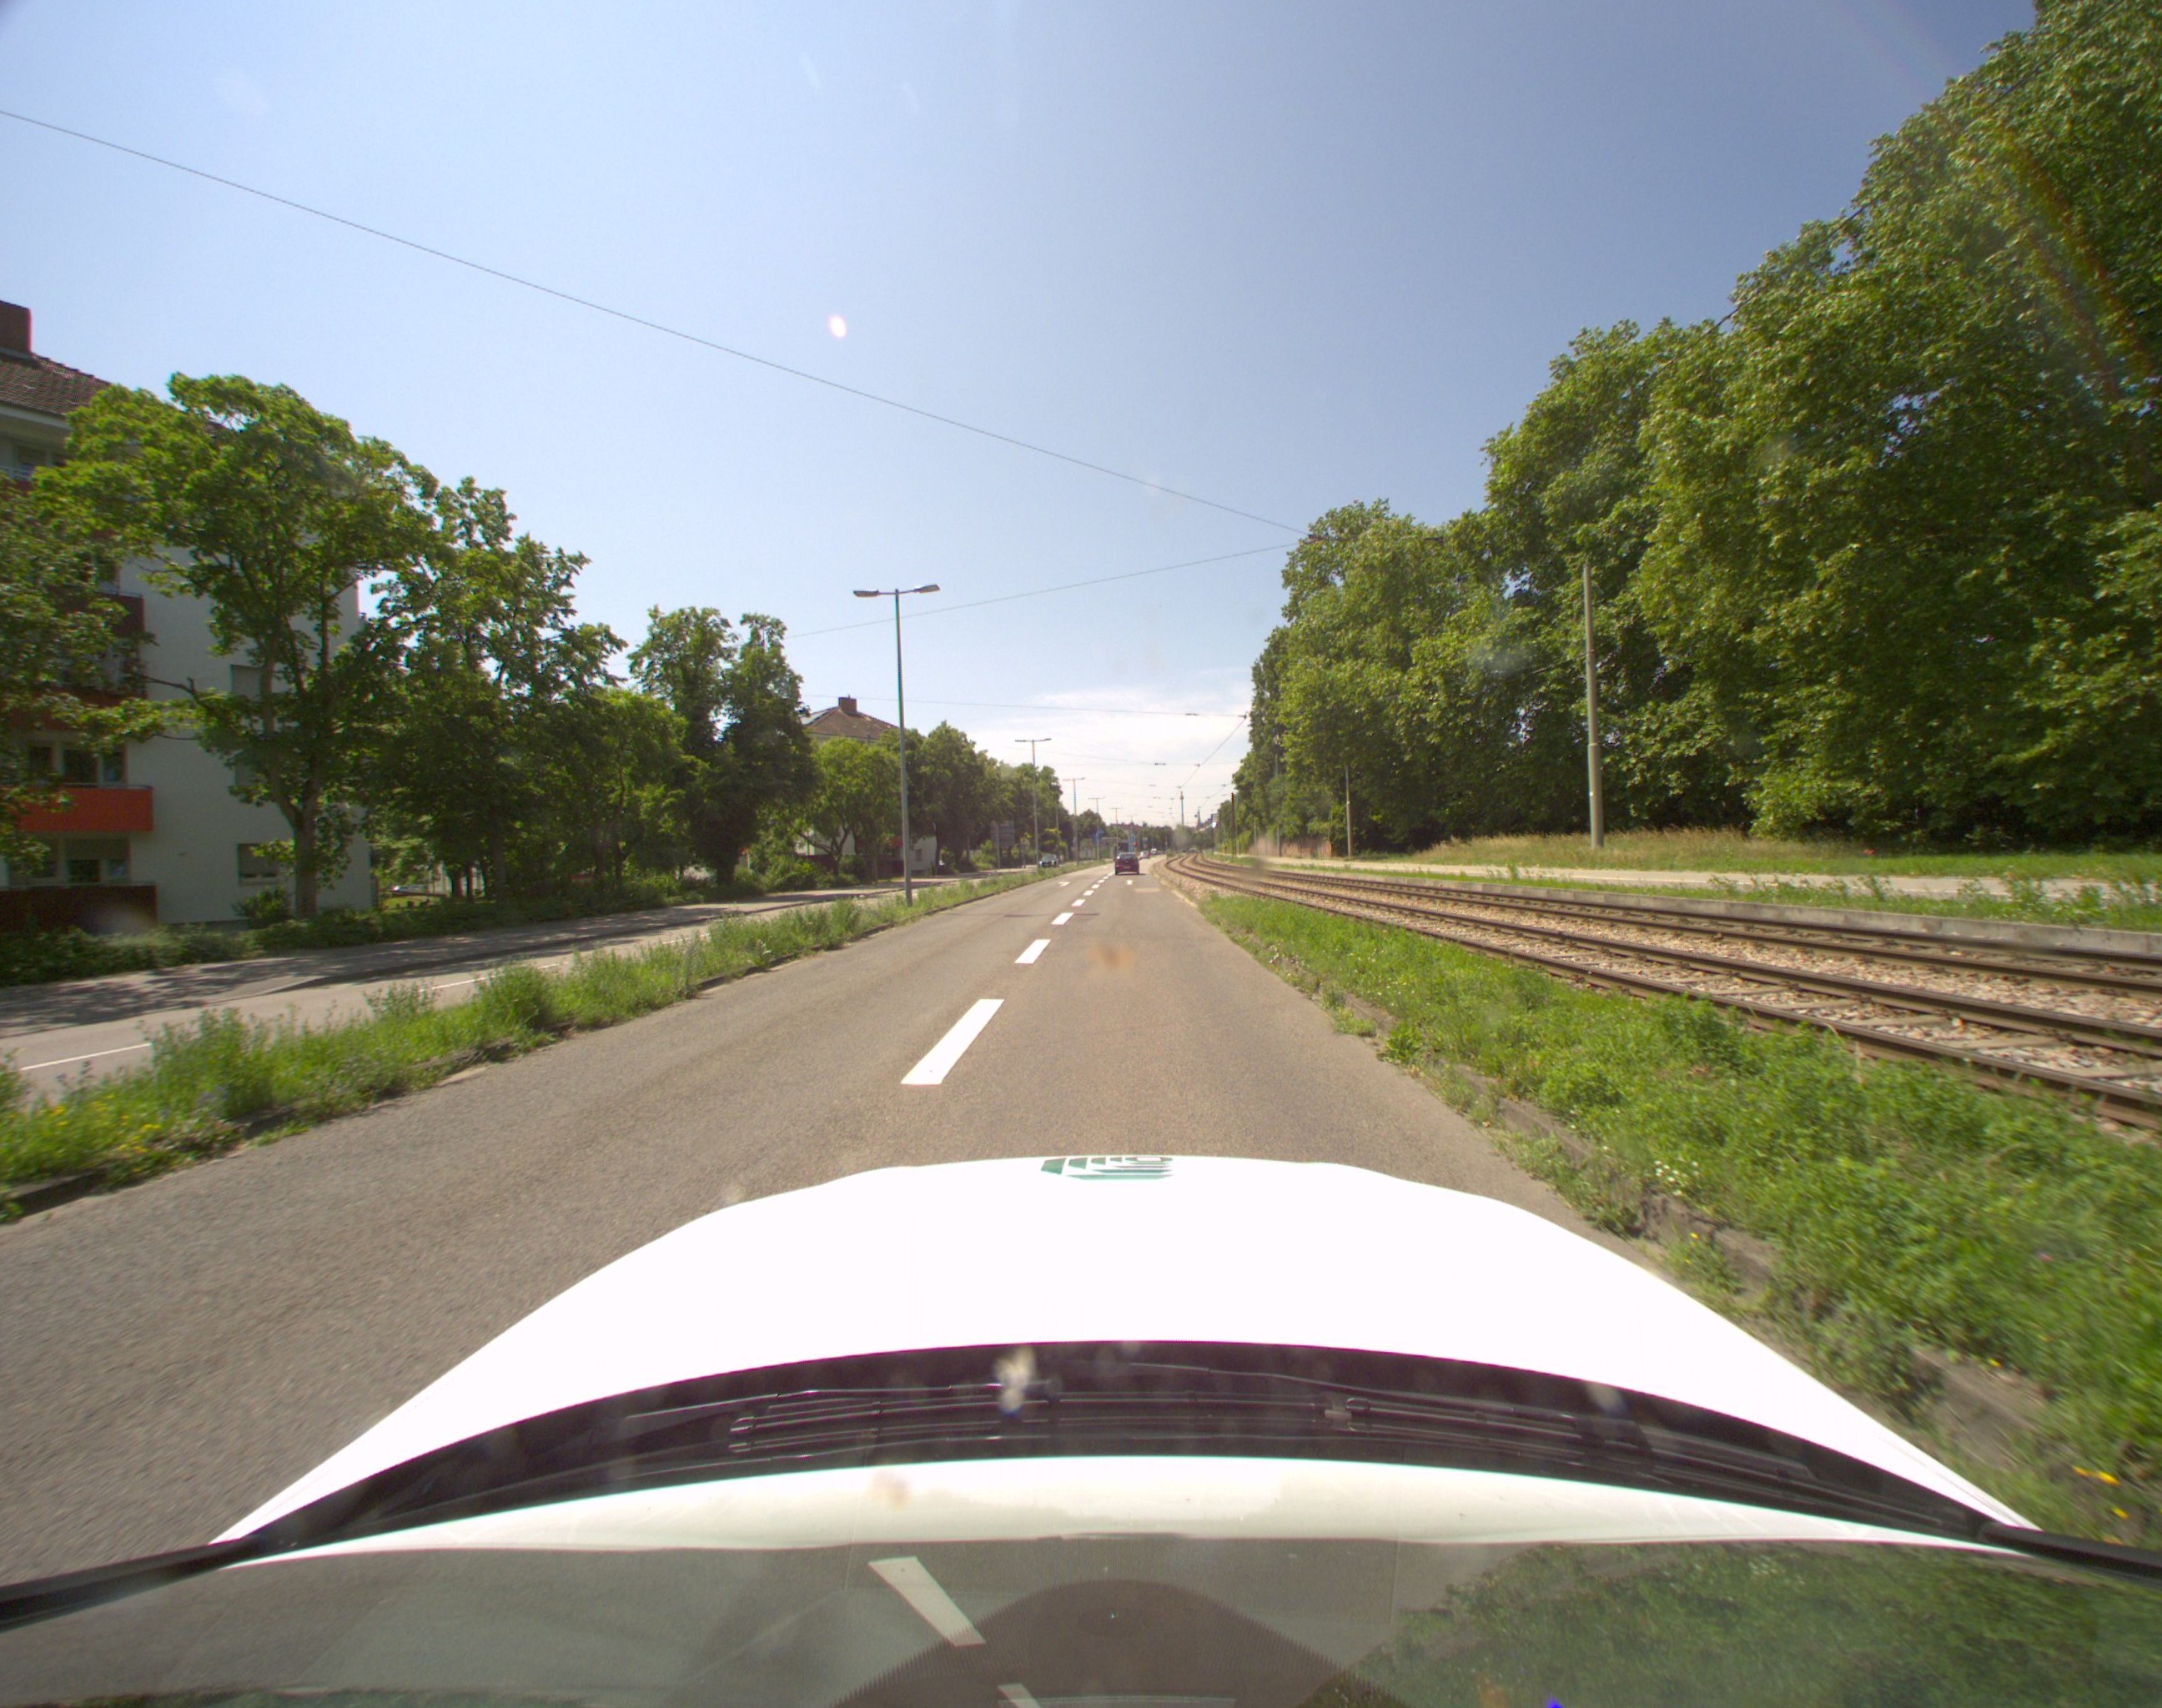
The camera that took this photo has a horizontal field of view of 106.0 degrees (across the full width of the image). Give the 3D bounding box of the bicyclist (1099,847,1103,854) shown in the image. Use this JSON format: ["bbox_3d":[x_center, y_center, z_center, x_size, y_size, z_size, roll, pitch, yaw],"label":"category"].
[{"bbox_3d":[4.880,-0.877,196.985,0.943,1.593,1.085,-1,-1,-6],"label":"bicyclist"}]

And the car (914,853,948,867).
[{"bbox_3d":[-22.244,0.825,120.822,4.654,1.758,1.998,-3,0,-2],"label":"car"}]

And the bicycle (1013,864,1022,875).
[{"bbox_3d":[-8.540,2.050,109.648,0.640,1.327,1.581,-4,0,20],"label":"bicycle"}]

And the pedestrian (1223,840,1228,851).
[{"bbox_3d":[22.120,-1.275,124.944,0.658,1.726,0.818,-3,0,7],"label":"pedestrian"}]

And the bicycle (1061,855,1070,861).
[{"bbox_3d":[-2.561,0.658,132.049,1.438,0.773,0.492,-4,0,-34],"label":"bicycle"}]

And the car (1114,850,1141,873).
[{"bbox_3d":[3.121,0.521,54.803,1.696,1.477,3.719,-2,-1,3],"label":"car"}]

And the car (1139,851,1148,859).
[{"bbox_3d":[12.222,0.232,159.490,1.696,1.480,3.719,-1,0,3],"label":"car"}]

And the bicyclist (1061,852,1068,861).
[{"bbox_3d":[-2.740,0.340,131.935,0.968,1.403,0.486,-4,0,-34],"label":"bicyclist"}]

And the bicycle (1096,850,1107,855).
[{"bbox_3d":[4.941,-0.395,196.958,2.547,1.038,1.085,-1,-1,-6],"label":"bicycle"}]

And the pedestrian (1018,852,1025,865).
[{"bbox_3d":[-8.028,0.653,109.645,0.544,1.718,0.607,-3,0,20],"label":"pedestrian"}]

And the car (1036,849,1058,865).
[{"bbox_3d":[-3.953,0.316,95.070,1.914,1.626,4.762,-4,0,4],"label":"car"}]
